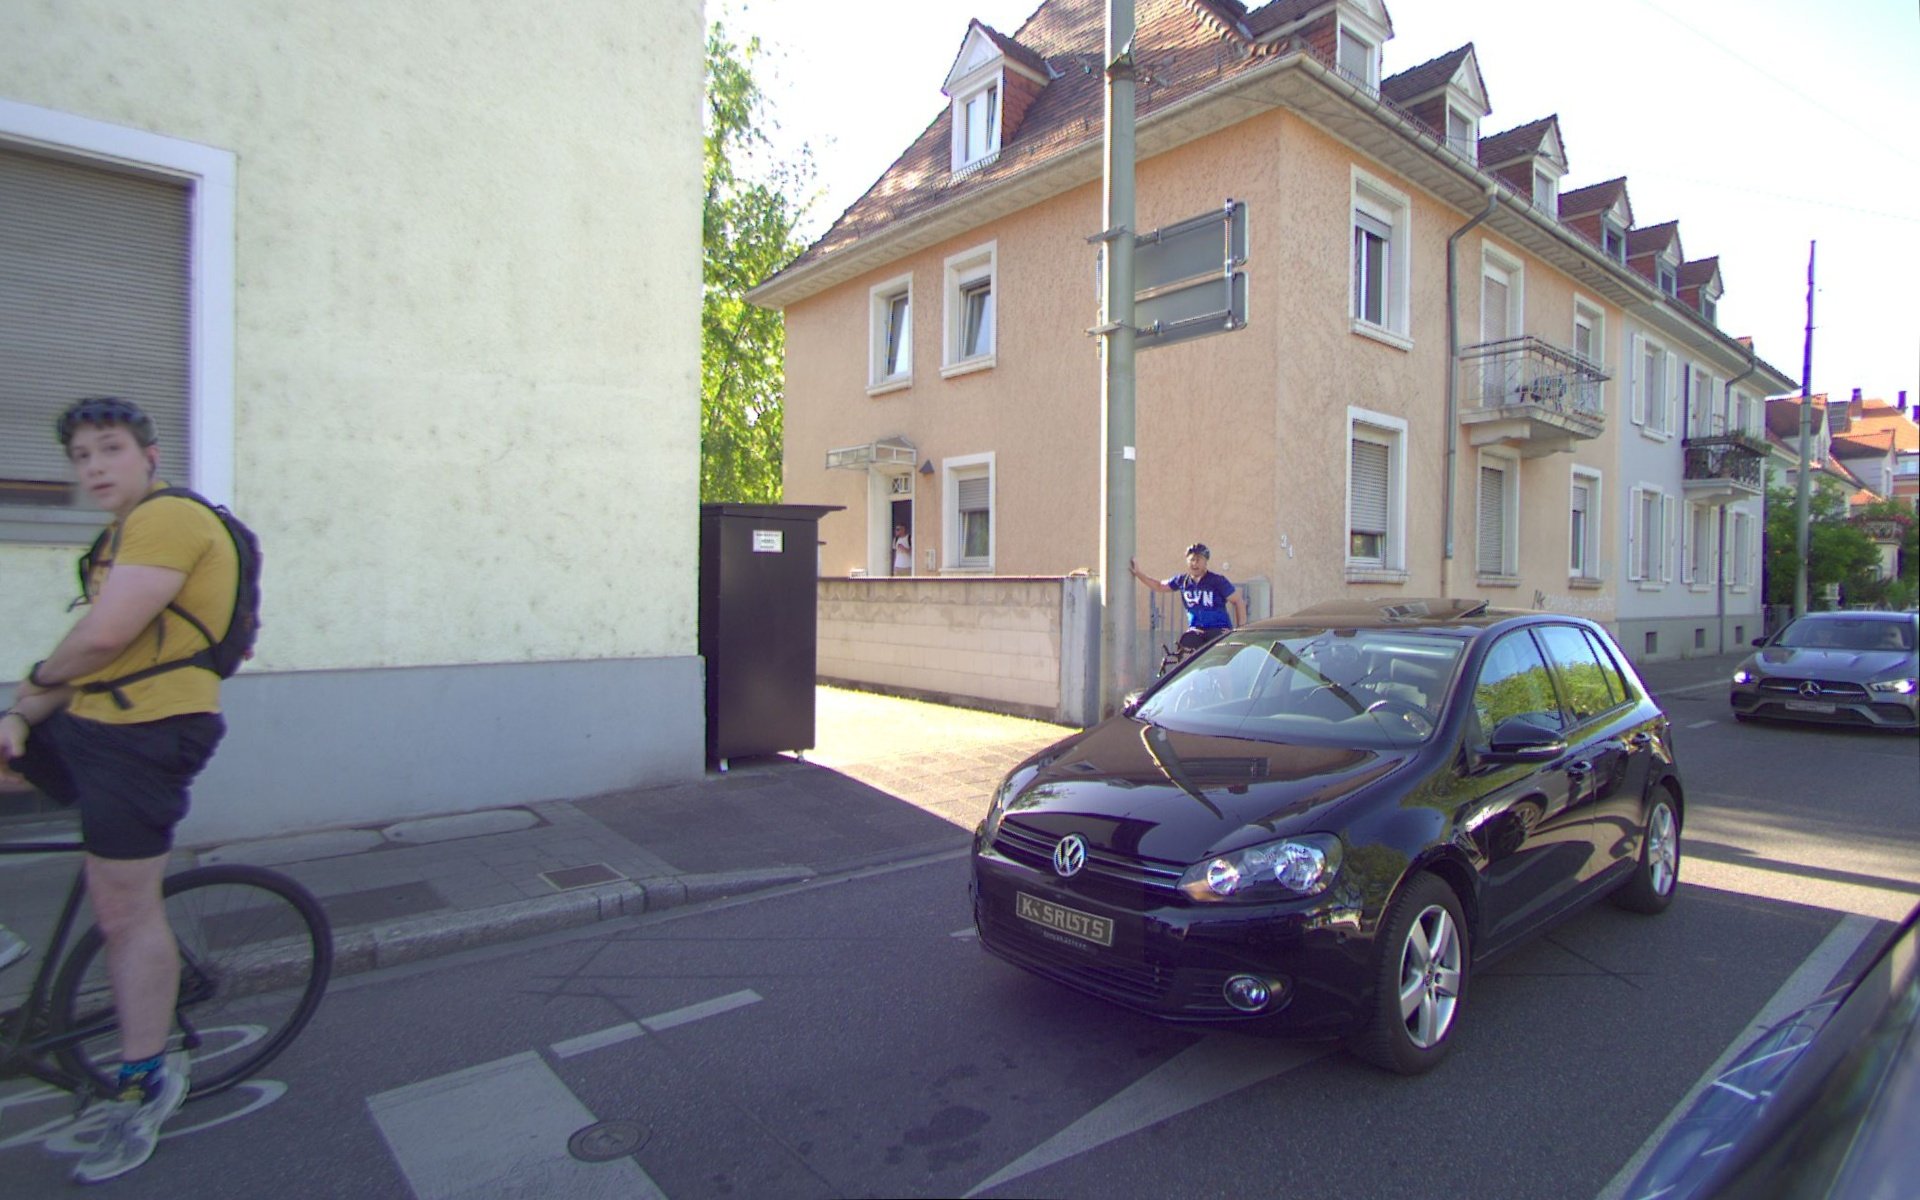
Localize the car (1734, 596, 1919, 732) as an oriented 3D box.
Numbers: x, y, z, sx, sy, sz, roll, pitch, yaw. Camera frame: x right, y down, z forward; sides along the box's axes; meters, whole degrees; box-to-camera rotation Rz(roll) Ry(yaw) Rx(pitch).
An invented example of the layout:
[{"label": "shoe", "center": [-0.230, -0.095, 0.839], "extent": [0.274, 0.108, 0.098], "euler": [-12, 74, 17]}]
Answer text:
[{"label": "car", "center": [11.547, 0.719, 12.854], "extent": [4.410, 1.449, 1.824], "euler": [1, 0, -40]}]

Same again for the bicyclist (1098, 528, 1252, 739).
[{"label": "bicyclist", "center": [1.905, 0.257, 8.995], "extent": [1.018, 1.714, 0.718], "euler": [6, 4, 42]}]

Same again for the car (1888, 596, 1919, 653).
[{"label": "car", "center": [26.754, 0.627, 27.436], "extent": [4.258, 1.448, 1.824], "euler": [-1, 0, -40]}]

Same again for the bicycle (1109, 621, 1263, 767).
[{"label": "bicycle", "center": [2.014, 0.769, 8.898], "extent": [0.554, 1.088, 1.601], "euler": [6, 4, 42]}]

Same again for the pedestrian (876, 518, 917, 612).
[{"label": "pedestrian", "center": [-1.158, -0.649, 18.326], "extent": [0.598, 1.624, 0.763], "euler": [3, 5, -8]}]

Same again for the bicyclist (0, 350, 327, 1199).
[{"label": "bicyclist", "center": [-2.311, 0.428, 2.746], "extent": [0.777, 1.991, 0.768], "euler": [0, 0, 36]}]

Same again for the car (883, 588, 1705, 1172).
[{"label": "car", "center": [1.740, 0.685, 4.490], "extent": [3.921, 1.456, 1.716], "euler": [-1, 0, -41]}]

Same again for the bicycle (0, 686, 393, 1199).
[{"label": "bicycle", "center": [-2.532, 0.863, 2.598], "extent": [0.777, 1.120, 1.720], "euler": [0, 0, 36]}]
